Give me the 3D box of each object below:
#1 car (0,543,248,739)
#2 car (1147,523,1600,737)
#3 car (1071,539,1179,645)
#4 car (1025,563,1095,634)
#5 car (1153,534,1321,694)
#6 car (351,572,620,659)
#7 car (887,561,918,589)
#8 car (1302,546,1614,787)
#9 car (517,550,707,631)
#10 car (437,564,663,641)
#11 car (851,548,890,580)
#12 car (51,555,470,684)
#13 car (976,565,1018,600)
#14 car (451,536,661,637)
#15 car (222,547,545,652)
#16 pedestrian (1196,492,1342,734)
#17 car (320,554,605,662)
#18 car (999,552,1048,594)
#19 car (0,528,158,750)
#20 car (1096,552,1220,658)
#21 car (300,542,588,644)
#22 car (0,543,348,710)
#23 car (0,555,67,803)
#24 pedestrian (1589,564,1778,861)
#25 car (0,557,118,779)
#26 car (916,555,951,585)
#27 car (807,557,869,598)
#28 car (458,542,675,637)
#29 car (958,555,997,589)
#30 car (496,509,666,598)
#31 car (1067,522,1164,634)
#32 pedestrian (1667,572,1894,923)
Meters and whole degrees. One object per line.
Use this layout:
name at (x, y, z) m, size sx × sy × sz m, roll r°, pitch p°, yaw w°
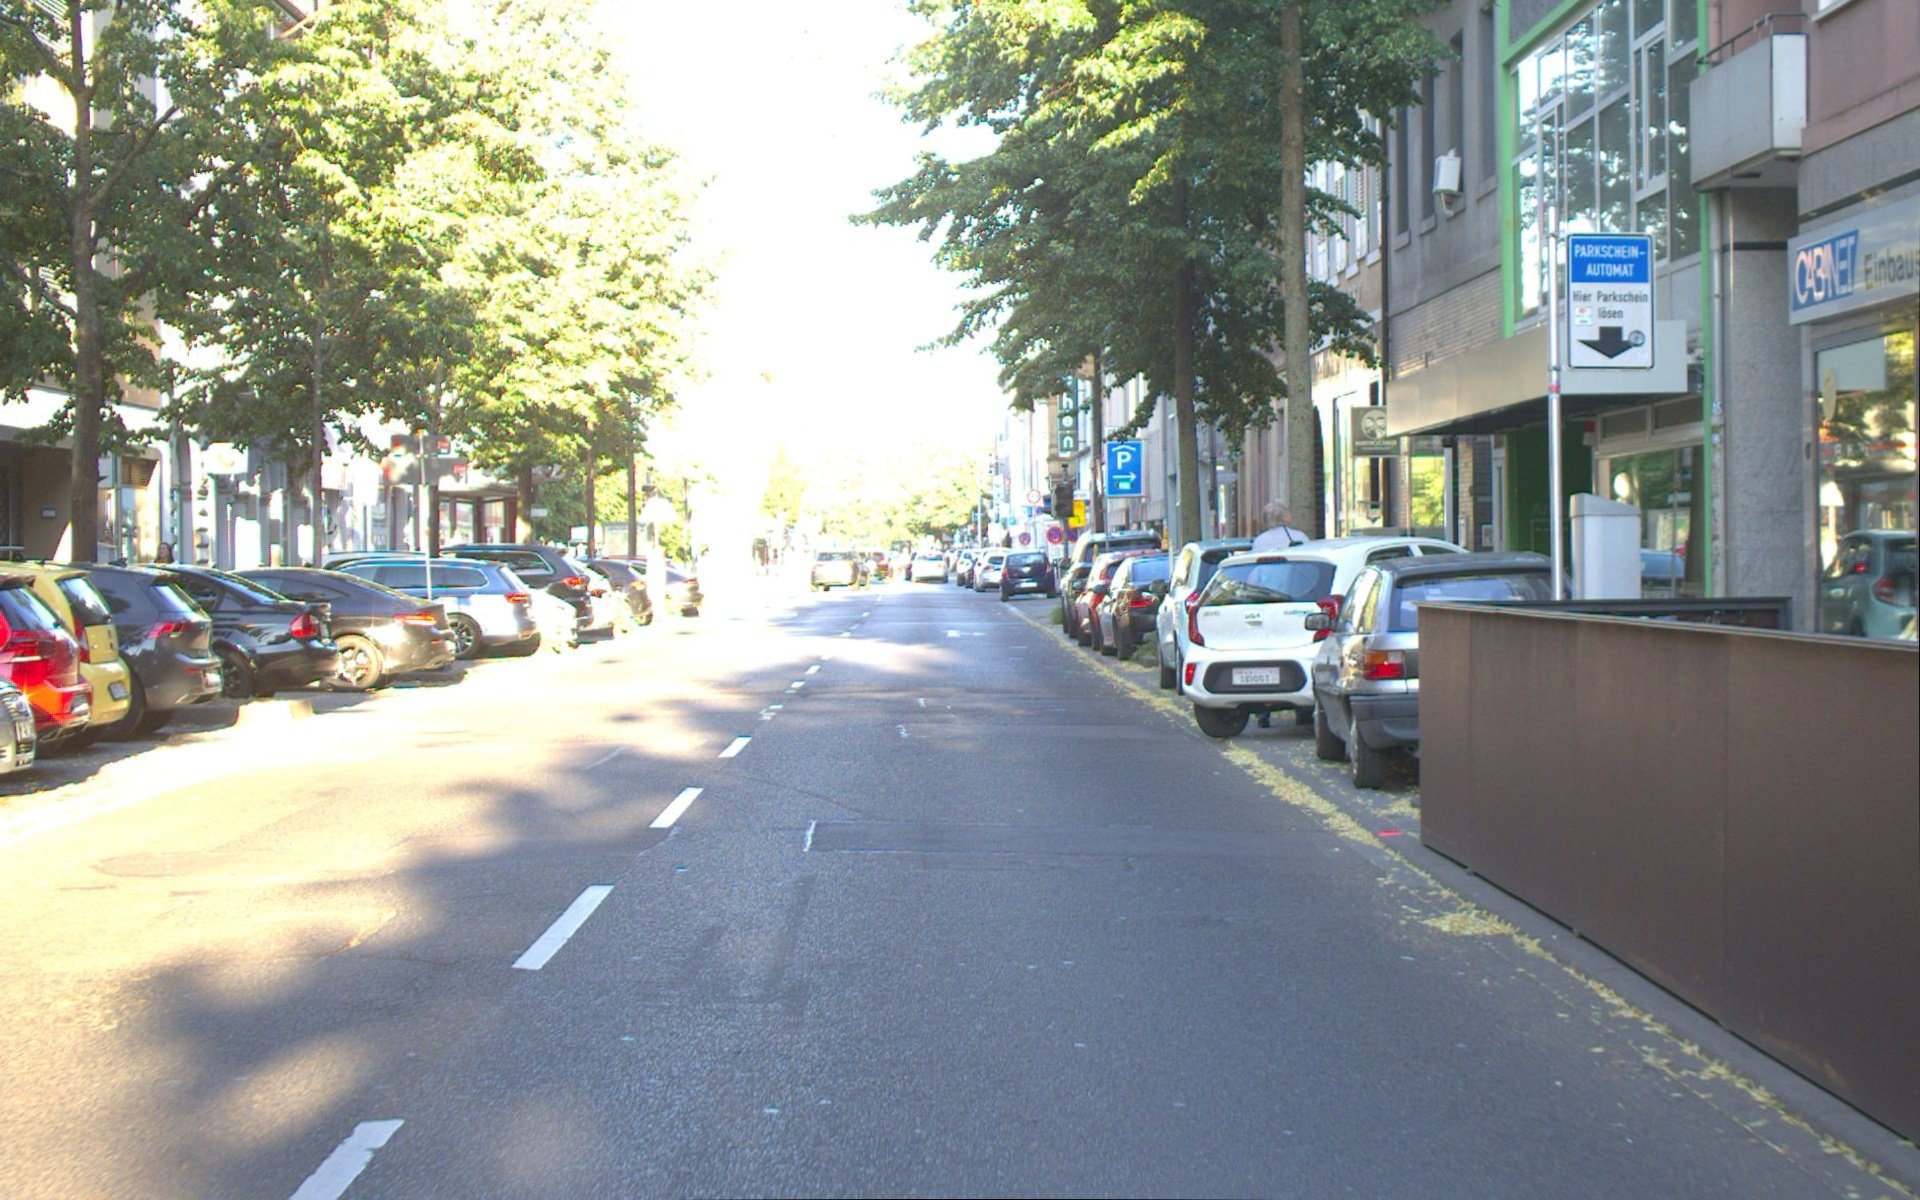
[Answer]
car at (-8.310, 0.314, 28.426) m, size 4.442 × 1.562 × 1.919 m, roll 0°, pitch 1°, yaw 0°
car at (3.347, 0.192, 27.366) m, size 1.674 × 1.583 × 3.814 m, roll 1°, pitch 1°, yaw 42°
car at (2.503, -0.136, 52.781) m, size 1.513 × 1.556 × 3.514 m, roll 0°, pitch 1°, yaw 0°
car at (2.236, -0.054, 77.515) m, size 1.513 × 1.556 × 3.773 m, roll 0°, pitch 0°, yaw 1°
car at (2.815, 0.120, 35.423) m, size 1.513 × 1.572 × 3.218 m, roll 0°, pitch 1°, yaw 1°
car at (-8.272, 0.260, 60.159) m, size 4.442 × 1.494 × 1.919 m, roll 0°, pitch 1°, yaw 0°
car at (-3.137, -1.377, 187.232) m, size 1.570 × 1.500 × 3.303 m, roll -1°, pitch 0°, yaw 1°
car at (3.137, 0.372, 22.219) m, size 1.543 × 1.428 × 3.678 m, roll 0°, pitch 1°, yaw 1°
car at (-8.511, -0.241, 84.364) m, size 4.442 × 1.953 × 1.919 m, roll 0°, pitch 1°, yaw 0°
car at (-8.467, 0.044, 71.250) m, size 4.442 × 1.573 × 1.919 m, roll 0°, pitch 1°, yaw 0°
car at (-4.363, -1.743, 167.221) m, size 1.752 × 1.535 × 3.303 m, roll -1°, pitch 0°, yaw 1°
car at (-8.008, 0.213, 39.662) m, size 4.442 × 1.444 × 1.919 m, roll 0°, pitch 1°, yaw 0°
car at (1.345, -0.630, 124.889) m, size 1.513 × 1.259 × 3.303 m, roll 0°, pitch 0°, yaw 1°
car at (-8.941, -0.307, 76.387) m, size 4.442 × 2.192 × 1.919 m, roll 0°, pitch 1°, yaw 0°
car at (-8.448, -0.016, 50.630) m, size 4.442 × 1.518 × 1.919 m, roll 0°, pitch 1°, yaw 0°
pedestrian at (2.497, 0.095, 27.864) m, size 0.916 × 1.919 × 1.018 m, roll 1°, pitch 1°, yaw -10°
car at (-8.219, 0.120, 57.037) m, size 4.442 × 1.753 × 1.919 m, roll 0°, pitch 1°, yaw 0°
car at (1.959, -0.839, 106.778) m, size 1.513 × 1.271 × 3.303 m, roll 0°, pitch 0°, yaw 1°
car at (-8.548, 0.275, 26.194) m, size 4.442 × 1.633 × 1.859 m, roll 0°, pitch 1°, yaw 0°
car at (2.703, 0.041, 47.560) m, size 1.513 × 1.401 × 3.837 m, roll 0°, pitch 1°, yaw 0°
car at (-8.204, -0.117, 54.933) m, size 4.304 × 1.592 × 1.919 m, roll 0°, pitch 1°, yaw 0°
car at (-8.297, 0.237, 33.140) m, size 4.442 × 1.562 × 1.919 m, roll 0°, pitch 1°, yaw 0°
car at (-7.947, 0.460, 21.135) m, size 4.442 × 1.479 × 1.809 m, roll 0°, pitch 1°, yaw 0°
pedestrian at (3.447, 0.523, 16.427) m, size 0.726 × 1.374 × 0.781 m, roll 0°, pitch 1°, yaw 0°
car at (-8.191, 0.433, 23.440) m, size 4.442 × 1.453 × 1.859 m, roll 0°, pitch 1°, yaw 0°
car at (-1.324, -1.520, 173.468) m, size 1.721 × 1.470 × 3.303 m, roll -1°, pitch 0°, yaw 1°
car at (-4.724, -0.883, 133.339) m, size 1.928 × 1.566 × 3.303 m, roll 0°, pitch 0°, yaw 7°
car at (-8.444, -0.233, 74.071) m, size 4.442 × 2.008 × 1.919 m, roll 0°, pitch 1°, yaw 0°
car at (0.804, -1.309, 159.167) m, size 1.752 × 1.535 × 3.303 m, roll -1°, pitch 0°, yaw 1°
car at (-10.401, -1.273, 94.473) m, size 4.442 × 2.426 × 1.919 m, roll 0°, pitch 0°, yaw 0°
car at (2.643, -0.380, 59.087) m, size 1.513 × 1.858 × 4.235 m, roll 0°, pitch 0°, yaw 1°
pedestrian at (3.319, 0.580, 13.963) m, size 0.726 × 1.374 × 0.781 m, roll 0°, pitch 1°, yaw 0°
